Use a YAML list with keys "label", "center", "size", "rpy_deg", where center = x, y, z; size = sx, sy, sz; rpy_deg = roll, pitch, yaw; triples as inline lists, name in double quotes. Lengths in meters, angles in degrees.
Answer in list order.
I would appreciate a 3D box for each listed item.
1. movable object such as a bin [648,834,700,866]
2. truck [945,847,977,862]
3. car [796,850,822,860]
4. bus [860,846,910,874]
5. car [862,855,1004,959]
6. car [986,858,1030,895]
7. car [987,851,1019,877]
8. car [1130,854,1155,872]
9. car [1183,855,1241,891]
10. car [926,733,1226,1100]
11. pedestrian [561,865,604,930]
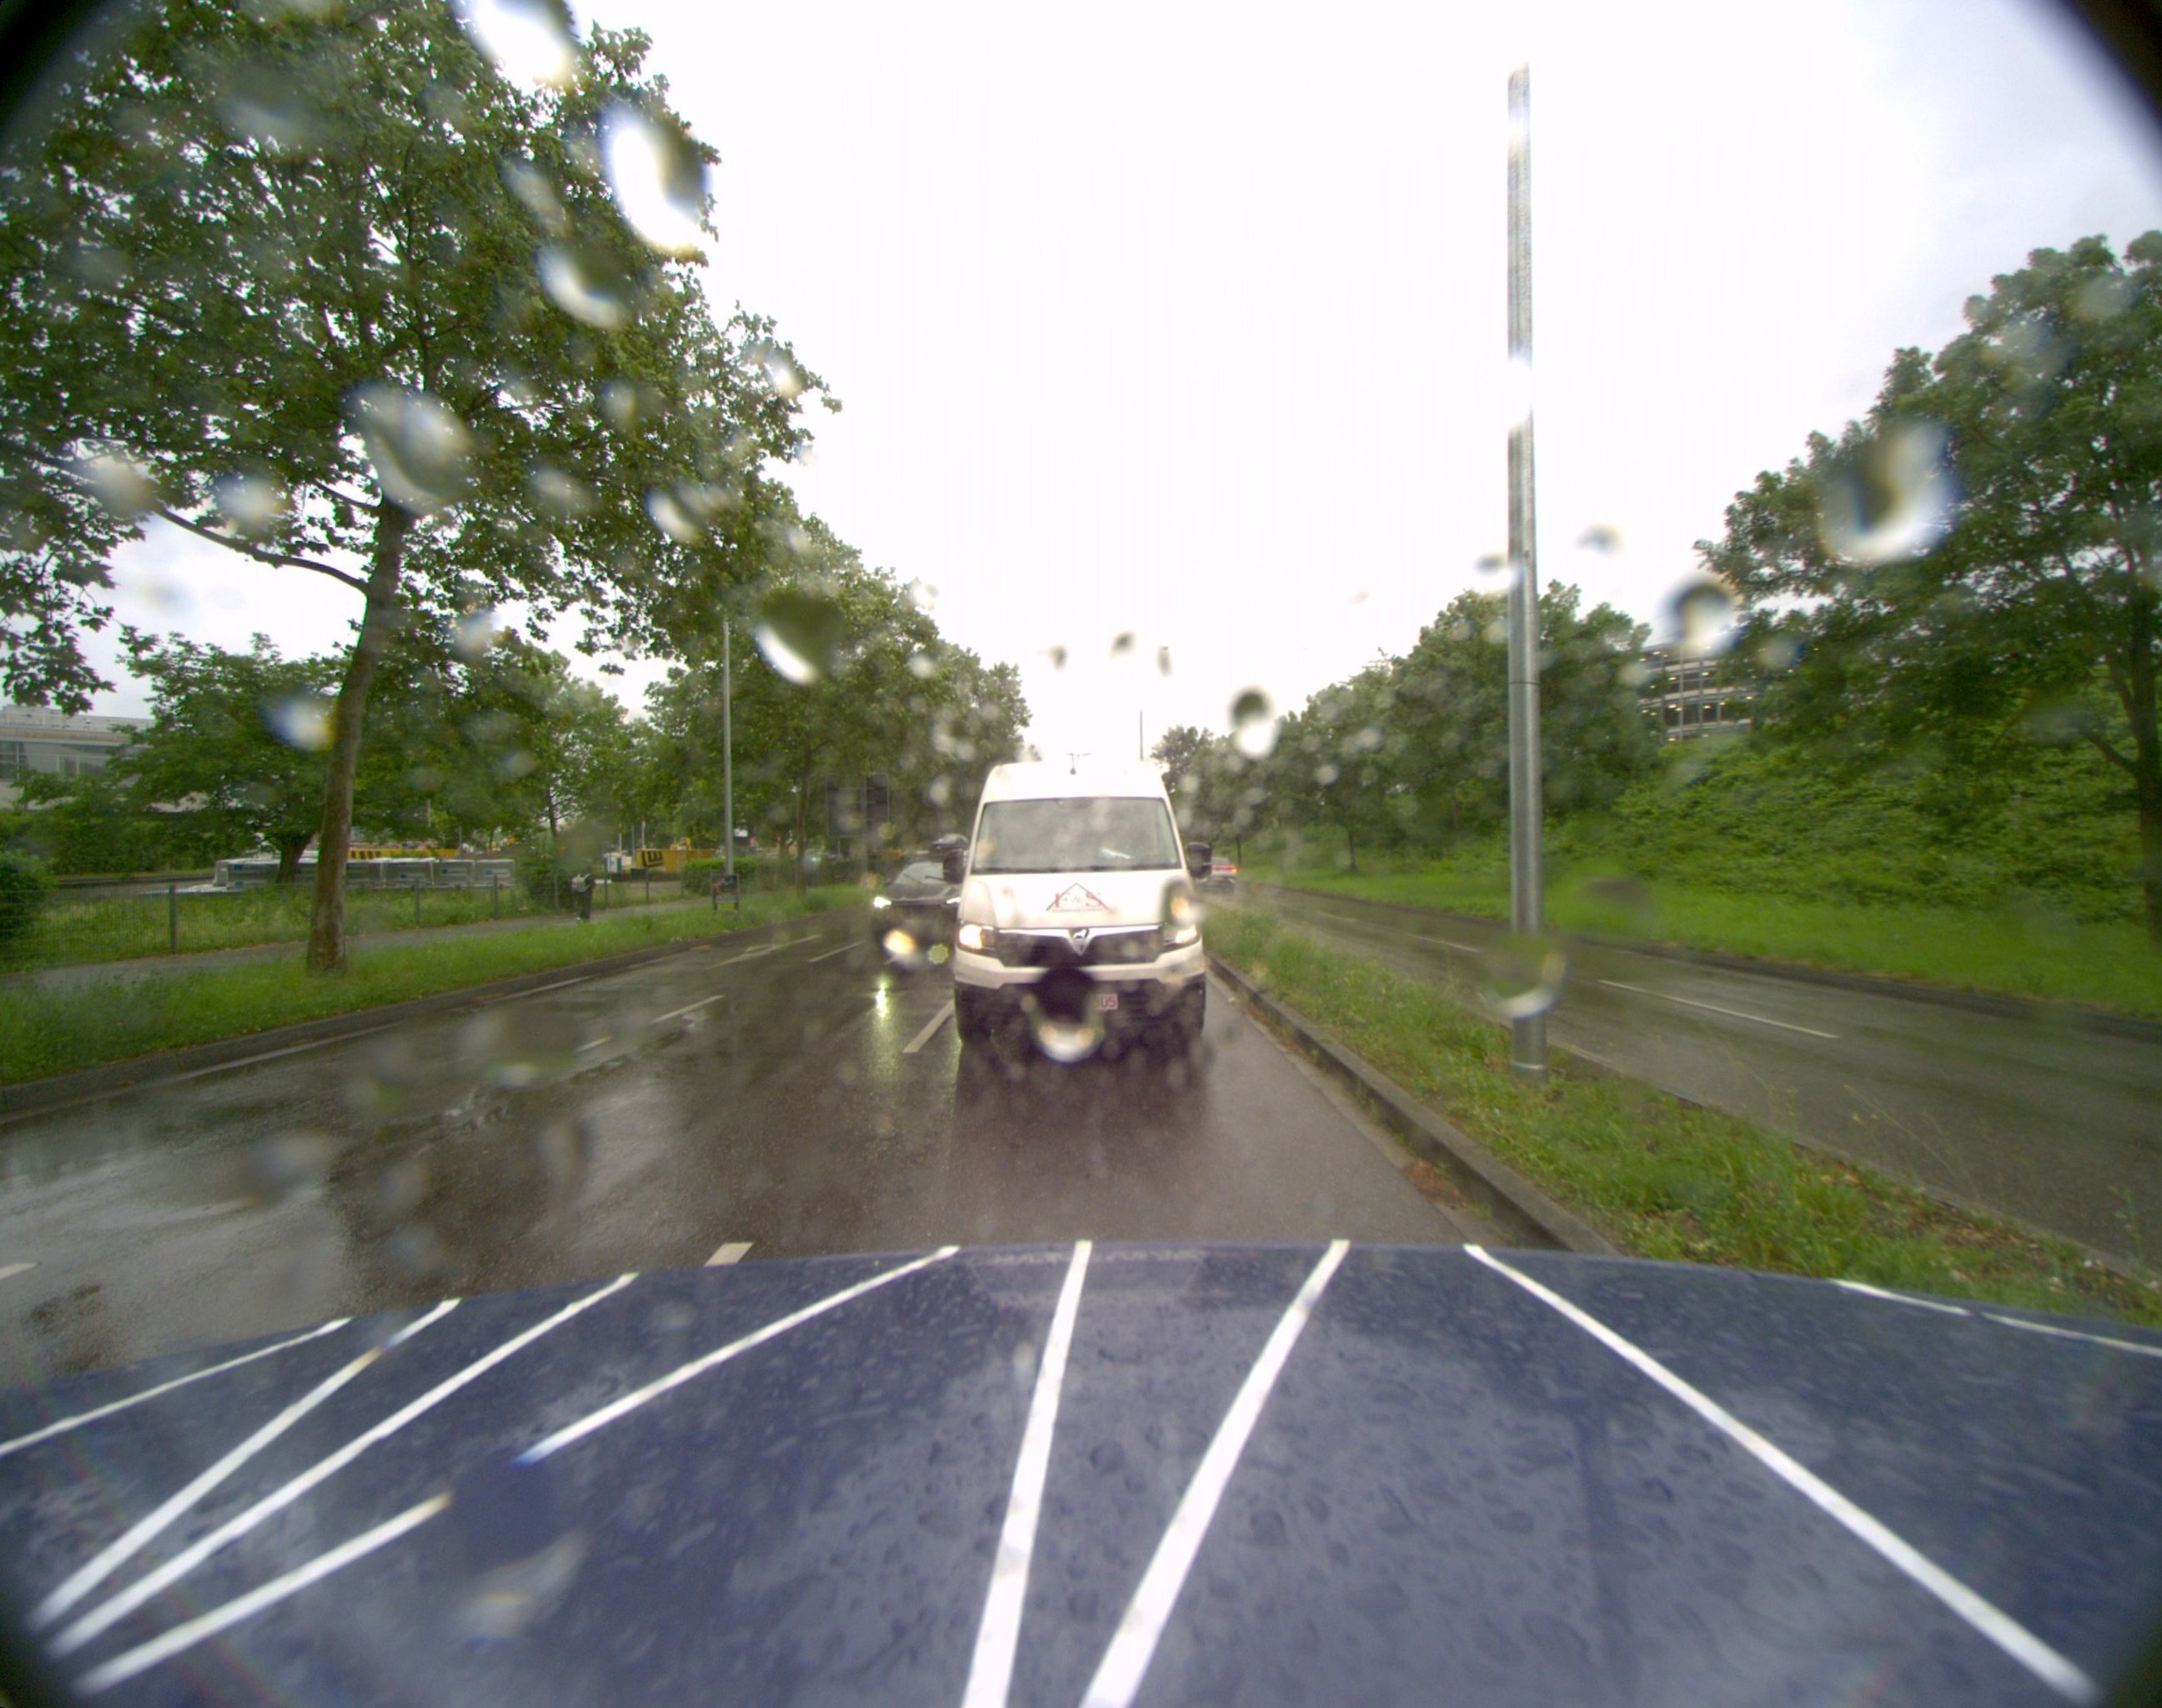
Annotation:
- label: "movable object such as a bin"
  center: [-47.590, -0.477, 88.918]
  size: [4.942, 3.415, 1.915]
  rpy_deg: [-3, 1, -20]
- label: "truck"
  center: [-20.978, 0.085, 132.602]
  size: [5.061, 2.363, 1.792]
  rpy_deg: [-3, 1, -30]
- label: "car"
  center: [-36.769, 0.130, 102.839]
  size: [3.154, 1.321, 1.427]
  rpy_deg: [-3, 1, -26]
- label: "bus"
  center: [-19.137, 0.566, 74.373]
  size: [4.370, 2.553, 1.711]
  rpy_deg: [-2, 1, 0]
- label: "car"
  center: [-2.703, 0.899, 14.932]
  size: [1.894, 1.688, 4.423]
  rpy_deg: [-1, 0, 0]
- label: "car"
  center: [-3.128, 0.956, 33.195]
  size: [1.573, 1.454, 3.389]
  rpy_deg: [-2, 0, 0]
- label: "car"
  center: [-5.412, 0.698, 53.257]
  size: [1.679, 1.675, 4.148]
  rpy_deg: [-3, 0, 1]
- label: "car"
  center: [5.615, 0.792, 70.030]
  size: [1.959, 1.510, 4.254]
  rpy_deg: [1, 0, 0]
- label: "car"
  center: [5.909, 0.819, 34.734]
  size: [1.891, 1.510, 4.301]
  rpy_deg: [1, 0, 0]
- label: "car"
  center: [-0.082, 0.422, 8.091]
  size: [2.027, 2.498, 5.695]
  rpy_deg: [-1, 0, -1]
- label: "pedestrian"
  center: [-13.547, 1.170, 20.651]
  size: [0.646, 1.707, 0.656]
  rpy_deg: [-2, 1, 1]
